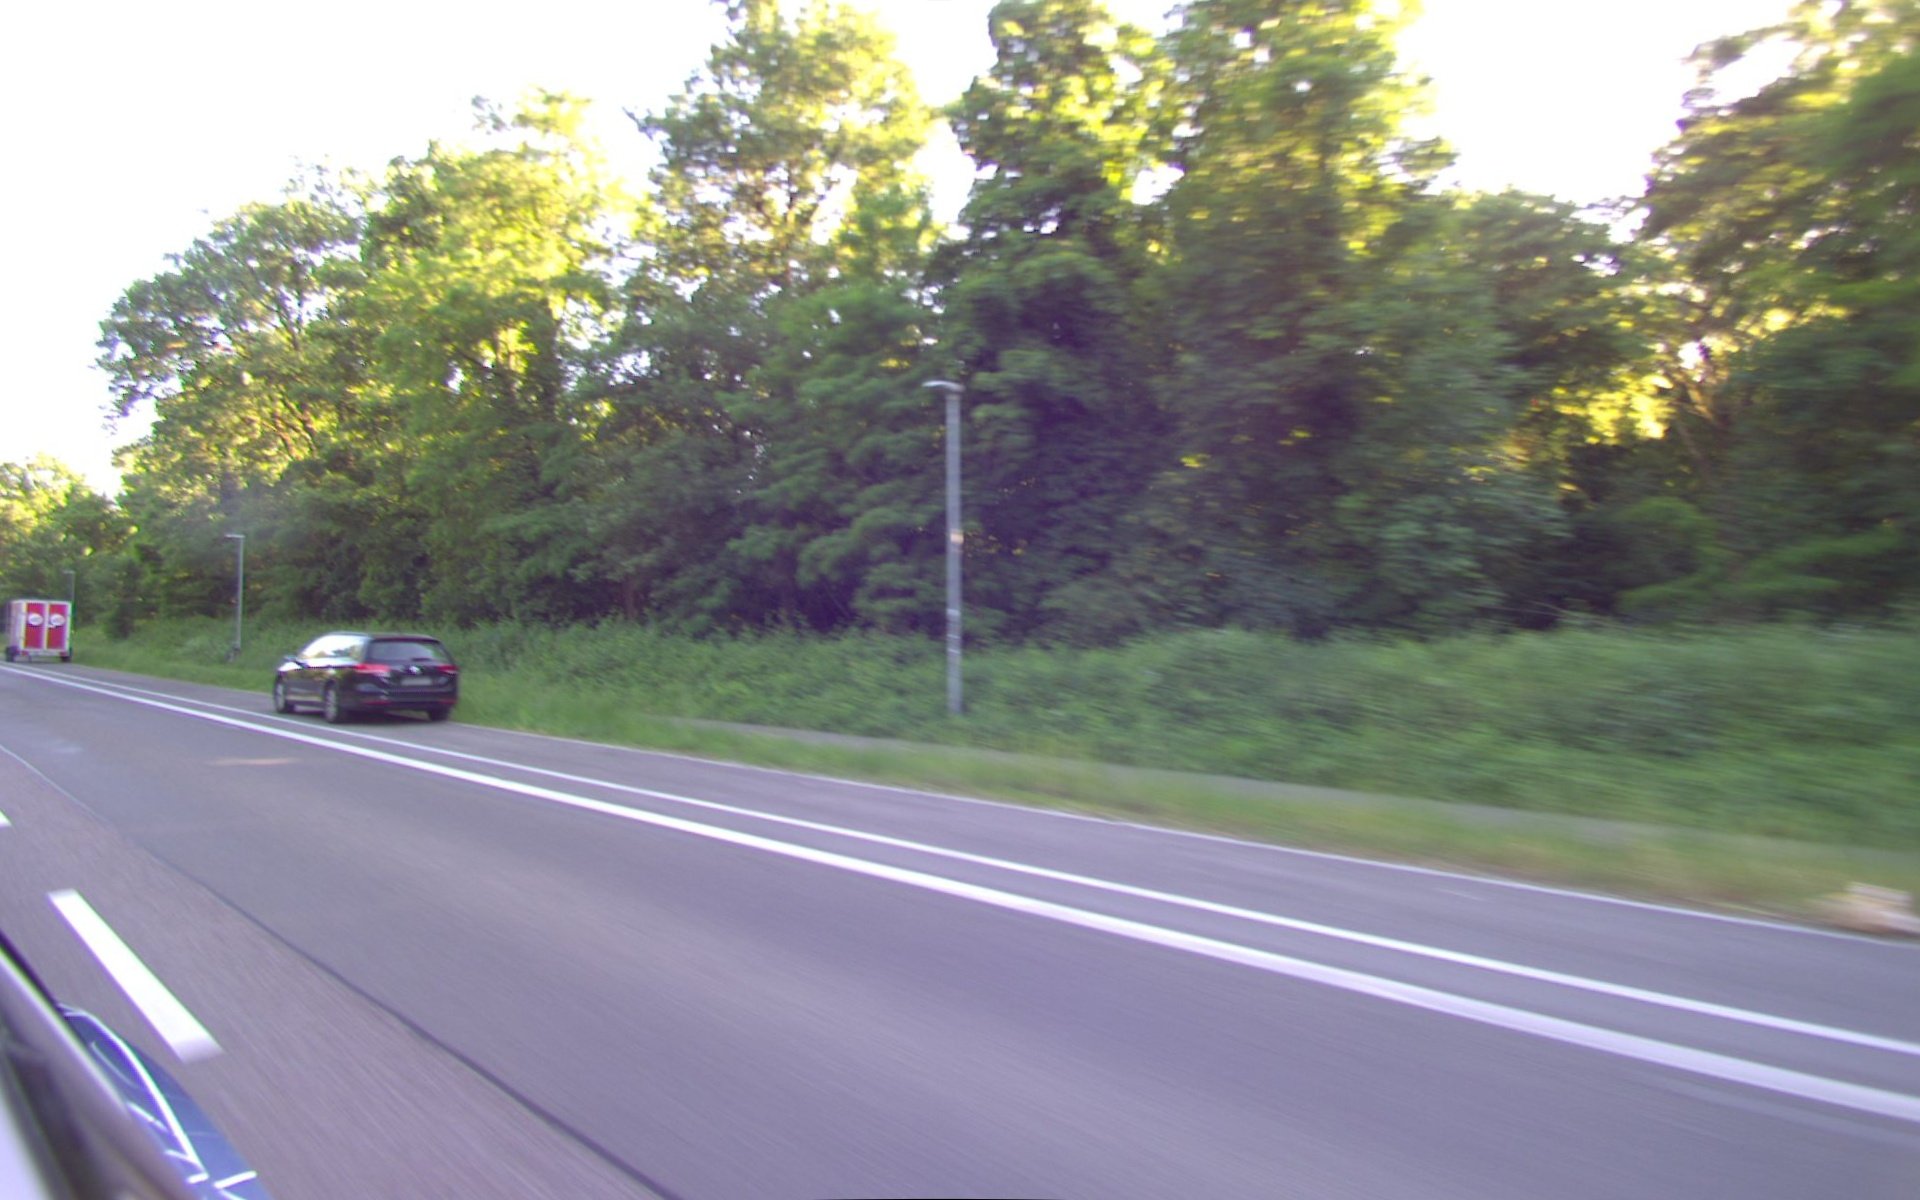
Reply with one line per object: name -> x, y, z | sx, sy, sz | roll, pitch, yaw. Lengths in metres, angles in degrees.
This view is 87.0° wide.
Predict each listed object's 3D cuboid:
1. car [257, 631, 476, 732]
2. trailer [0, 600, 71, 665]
car -> -10.277, 1.282, 17.360 | 4.782, 1.475, 1.835 | -1, -2, 41
trailer -> -39.771, 1.392, 43.370 | 4.084, 2.641, 1.972 | -1, -2, 41
